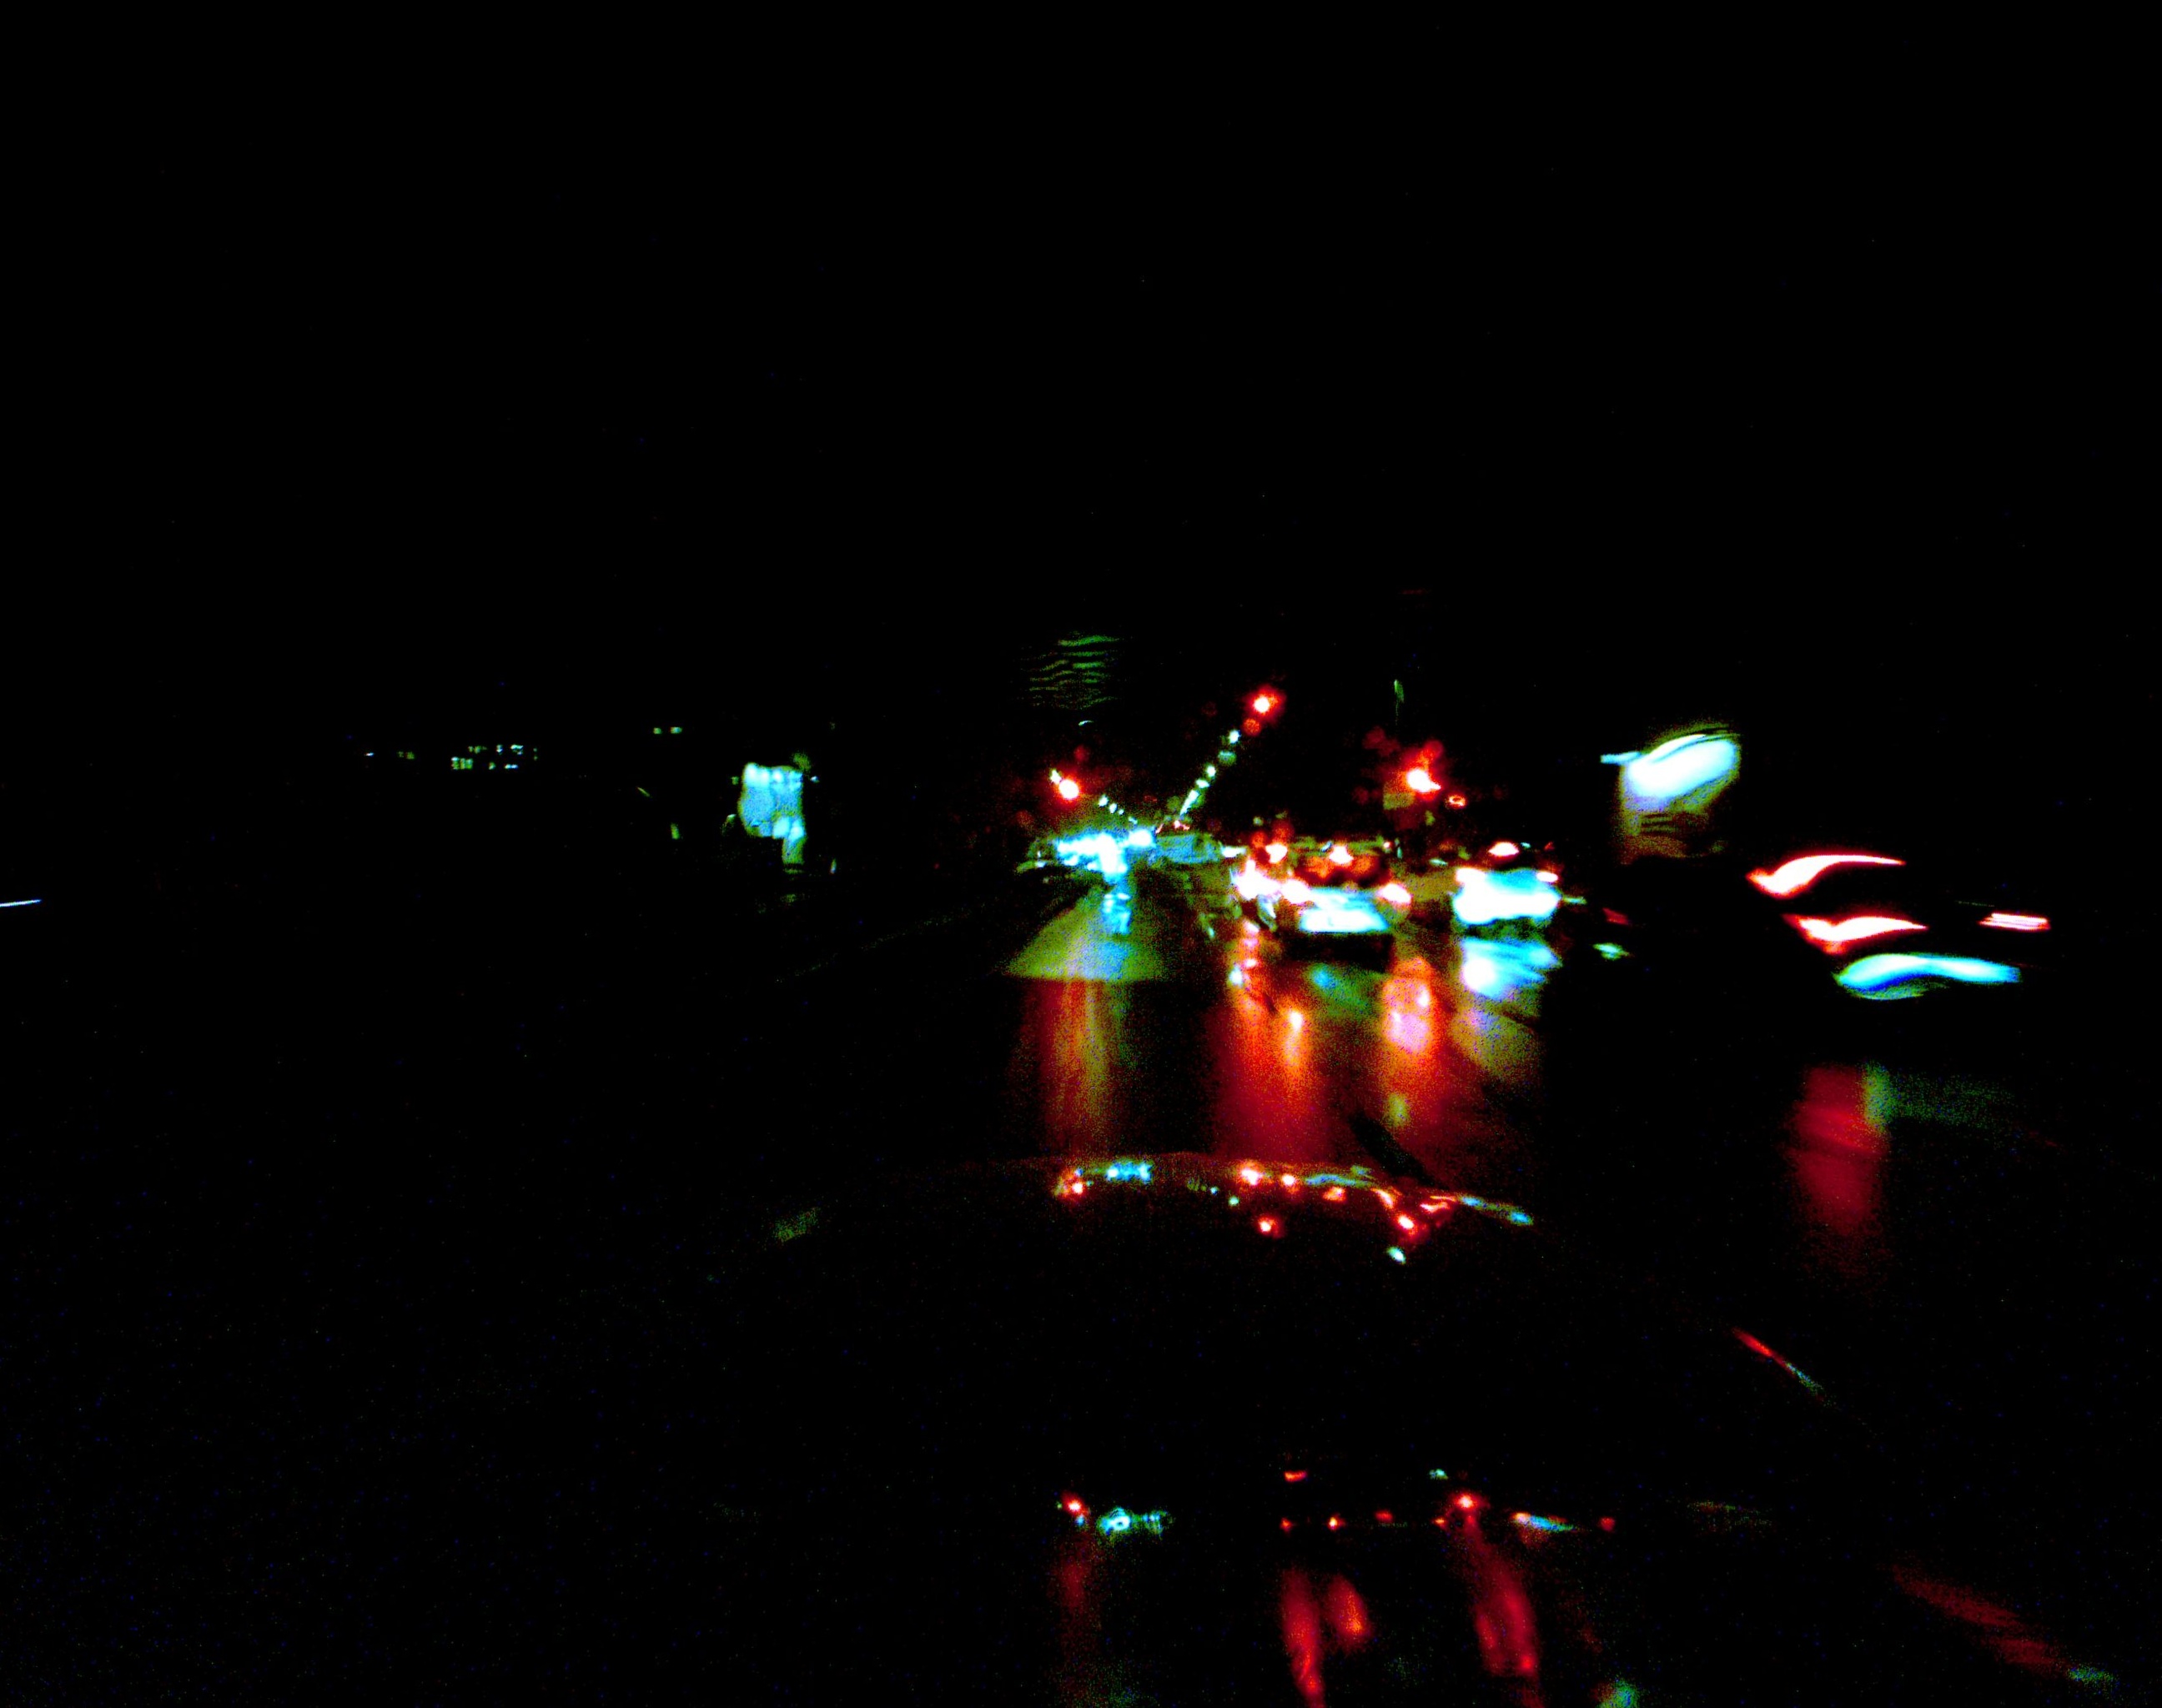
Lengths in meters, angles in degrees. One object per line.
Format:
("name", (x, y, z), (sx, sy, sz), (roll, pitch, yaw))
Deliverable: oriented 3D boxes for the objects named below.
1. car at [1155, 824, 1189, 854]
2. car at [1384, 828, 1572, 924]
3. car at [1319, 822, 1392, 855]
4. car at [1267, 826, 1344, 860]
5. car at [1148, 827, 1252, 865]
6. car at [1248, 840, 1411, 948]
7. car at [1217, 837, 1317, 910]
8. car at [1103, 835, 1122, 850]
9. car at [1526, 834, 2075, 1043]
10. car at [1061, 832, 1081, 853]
("car", (7.034, -1.180, 63.431), (2.430, 2.194, 5.084), (-1, 0, 4))
("car", (7.074, 0.332, 15.005), (1.712, 1.446, 4.169), (-3, 0, 5))
("car", (18.063, -1.018, 53.585), (4.254, 2.013, 2.057), (-1, 0, 25))
("car", (14.052, -0.662, 51.015), (4.253, 2.013, 2.057), (-1, 0, 26))
("car", (5.900, -0.382, 40.610), (4.776, 1.769, 1.849), (-1, 0, 33))
("car", (3.843, 0.530, 13.286), (1.712, 1.446, 4.169), (-1, 1, 5))
("car", (4.283, 0.385, 19.393), (1.712, 1.446, 4.390), (-3, 0, 5))
("car", (3.400, -1.247, 89.096), (1.896, 1.618, 4.513), (-1, 0, -1))
("car", (6.569, 0.602, 8.369), (1.712, 1.487, 4.794), (-2, 0, 5))
("car", (-0.904, -0.994, 71.997), (1.712, 1.733, 3.764), (-1, 0, -1))
